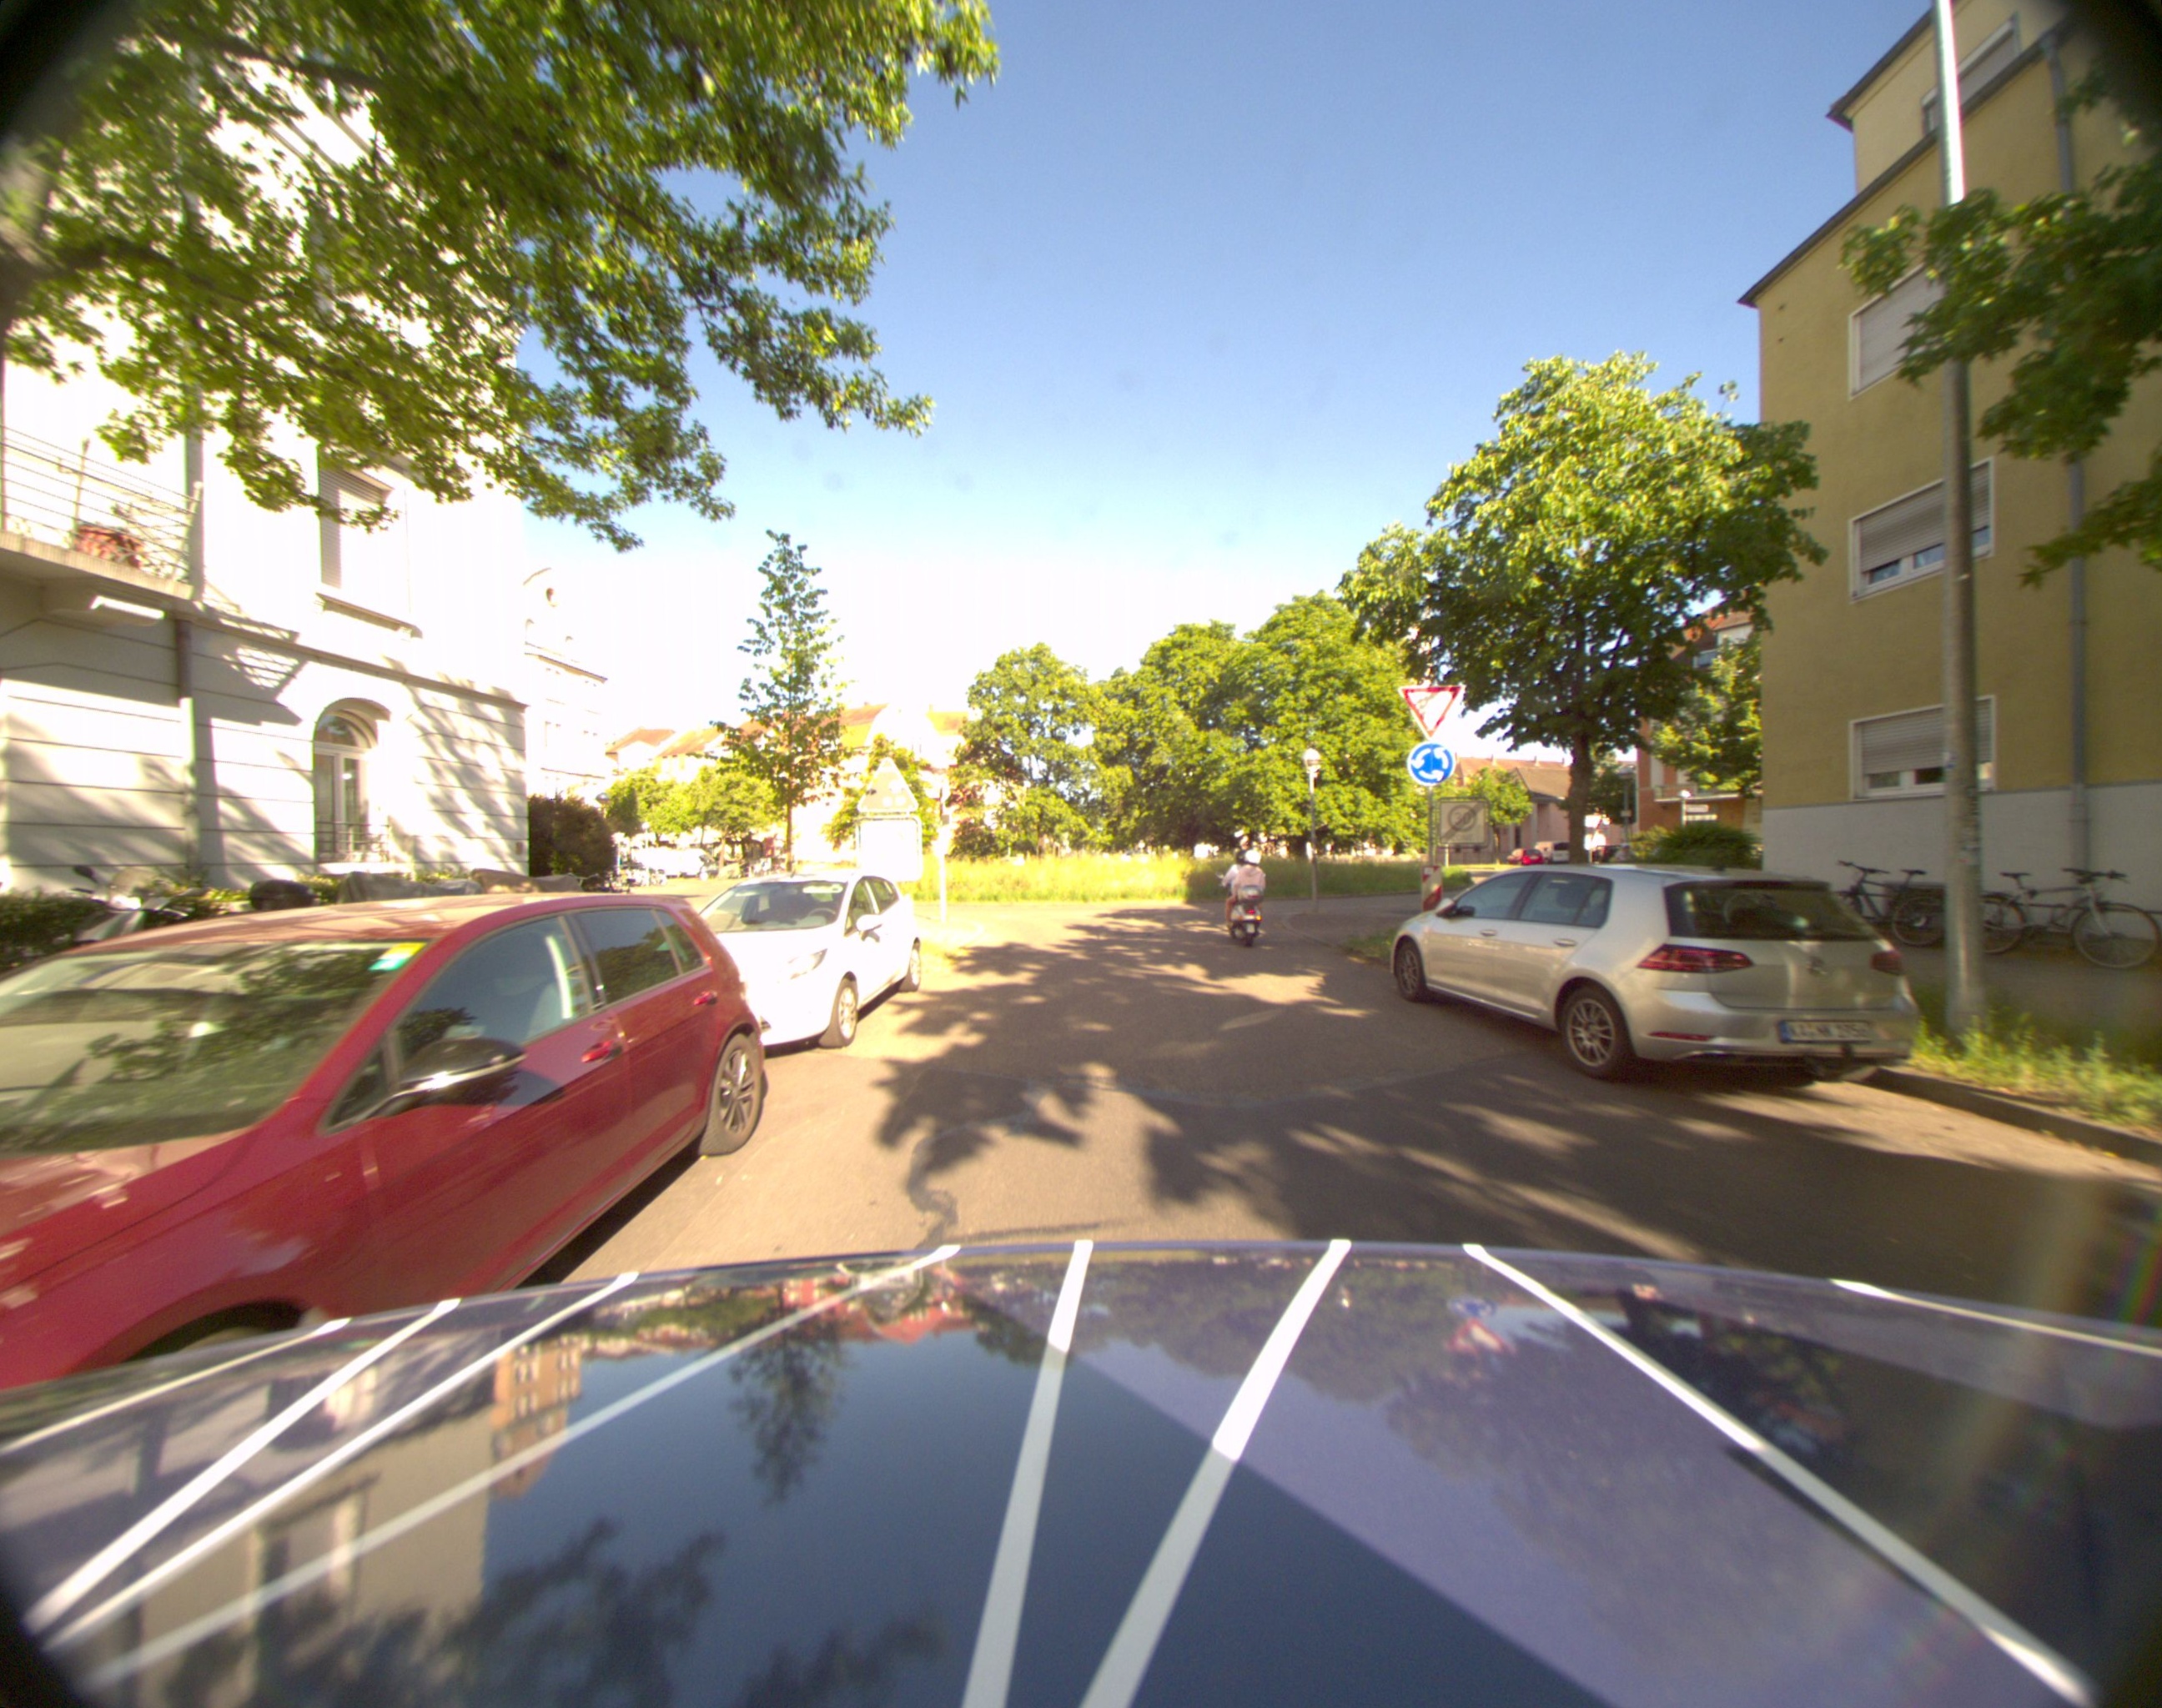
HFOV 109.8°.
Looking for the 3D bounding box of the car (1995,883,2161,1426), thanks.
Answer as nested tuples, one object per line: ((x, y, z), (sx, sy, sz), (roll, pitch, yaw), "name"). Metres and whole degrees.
((3.994, 0.877, 0.244), (1.696, 1.556, 4.735), (-1, 0, 0), "car")

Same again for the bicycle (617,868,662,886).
((-27.311, 1.418, 47.006), (2.364, 1.046, 0.654), (-1, 0, 1), "bicycle")

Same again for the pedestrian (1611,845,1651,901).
((15.990, 0.542, 22.102), (0.696, 1.606, 0.665), (-1, 1, 3), "pedestrian")

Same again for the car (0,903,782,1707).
((-2.606, 1.023, 2.559), (1.615, 1.401, 4.350), (-1, 0, -3), "car")

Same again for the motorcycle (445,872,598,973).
((-8.295, 0.966, 11.395), (0.973, 1.321, 1.852), (-1, 1, -4), "motorcycle")

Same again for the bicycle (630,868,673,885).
((-27.387, 1.413, 48.452), (2.364, 1.046, 0.654), (-1, 1, 1), "bicycle")

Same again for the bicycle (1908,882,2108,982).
((10.611, 0.848, 8.780), (0.454, 0.995, 1.545), (-1, 0, 2), "bicycle")

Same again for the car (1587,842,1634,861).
((43.774, -0.199, 62.928), (1.741, 1.471, 4.003), (-1, 0, 11), "car")

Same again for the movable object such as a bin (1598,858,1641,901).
((15.338, 0.718, 21.637), (0.846, 1.189, 0.767), (-1, 1, -35), "movable object such as a bin")

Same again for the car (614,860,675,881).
((-31.486, 1.161, 54.803), (3.989, 1.434, 2.004), (-1, 0, 28), "car")

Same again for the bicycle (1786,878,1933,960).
((10.641, 0.850, 10.464), (0.476, 0.995, 1.545), (-1, 0, 2), "bicycle")

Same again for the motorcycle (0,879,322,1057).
((-8.506, 0.956, 7.166), (0.540, 1.353, 2.089), (-1, 0, 1), "motorcycle")

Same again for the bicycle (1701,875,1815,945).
((10.728, 0.850, 12.105), (0.477, 0.995, 1.545), (-1, 0, 2), "bicycle")

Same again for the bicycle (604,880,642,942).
((-9.116, 1.113, 15.157), (0.352, 1.097, 1.569), (-1, 1, -20), "bicycle")

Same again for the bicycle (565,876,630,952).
((-8.627, 1.036, 13.610), (0.326, 1.231, 1.502), (-1, 1, -6), "bicycle")

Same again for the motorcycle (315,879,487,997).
((-8.418, 0.991, 9.527), (0.658, 1.272, 1.799), (1, 0, -5), "motorcycle")

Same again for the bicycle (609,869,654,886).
((-27.372, 1.421, 46.271), (2.364, 1.009, 0.654), (-1, 0, 1), "bicycle")

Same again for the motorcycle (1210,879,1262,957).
((2.579, 1.034, 12.813), (0.554, 1.168, 1.632), (-1, 0, 1), "motorcycle")

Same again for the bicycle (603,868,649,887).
((-27.281, 1.415, 45.555), (2.364, 1.046, 0.654), (-1, 1, 1), "bicycle")

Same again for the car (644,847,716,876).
((-34.269, 0.642, 65.116), (5.198, 2.348, 2.034), (-1, 1, -20), "car")

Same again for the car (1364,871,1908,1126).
((4.170, 0.931, 6.664), (1.764, 1.434, 3.993), (-1, 0, -2), "car")

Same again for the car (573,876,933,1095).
((-2.703, 0.982, 7.400), (1.657, 1.394, 4.135), (-1, 0, 1), "car")

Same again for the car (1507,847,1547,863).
((35.357, 0.059, 60.312), (1.765, 1.171, 4.005), (-1, 0, 16), "car")

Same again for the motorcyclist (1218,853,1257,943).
((2.538, 0.702, 12.336), (0.545, 1.418, 0.404), (-1, 1, 1), "motorcyclist")

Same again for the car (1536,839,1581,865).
((38.117, -0.188, 60.708), (1.996, 2.002, 4.005), (-1, 0, 16), "car")

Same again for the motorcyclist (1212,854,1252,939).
((2.538, 0.707, 12.809), (0.554, 1.395, 0.519), (-1, 1, 1), "motorcyclist")

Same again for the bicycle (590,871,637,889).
((-27.477, 1.519, 44.627), (2.364, 1.046, 0.655), (-1, -3, 1), "bicycle")

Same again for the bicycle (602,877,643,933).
((-10.112, 1.090, 16.732), (0.445, 1.142, 1.774), (-1, 1, -42), "bicycle")

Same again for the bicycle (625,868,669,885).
((-27.256, 1.397, 47.709), (2.364, 1.046, 0.654), (-1, 1, 1), "bicycle")
